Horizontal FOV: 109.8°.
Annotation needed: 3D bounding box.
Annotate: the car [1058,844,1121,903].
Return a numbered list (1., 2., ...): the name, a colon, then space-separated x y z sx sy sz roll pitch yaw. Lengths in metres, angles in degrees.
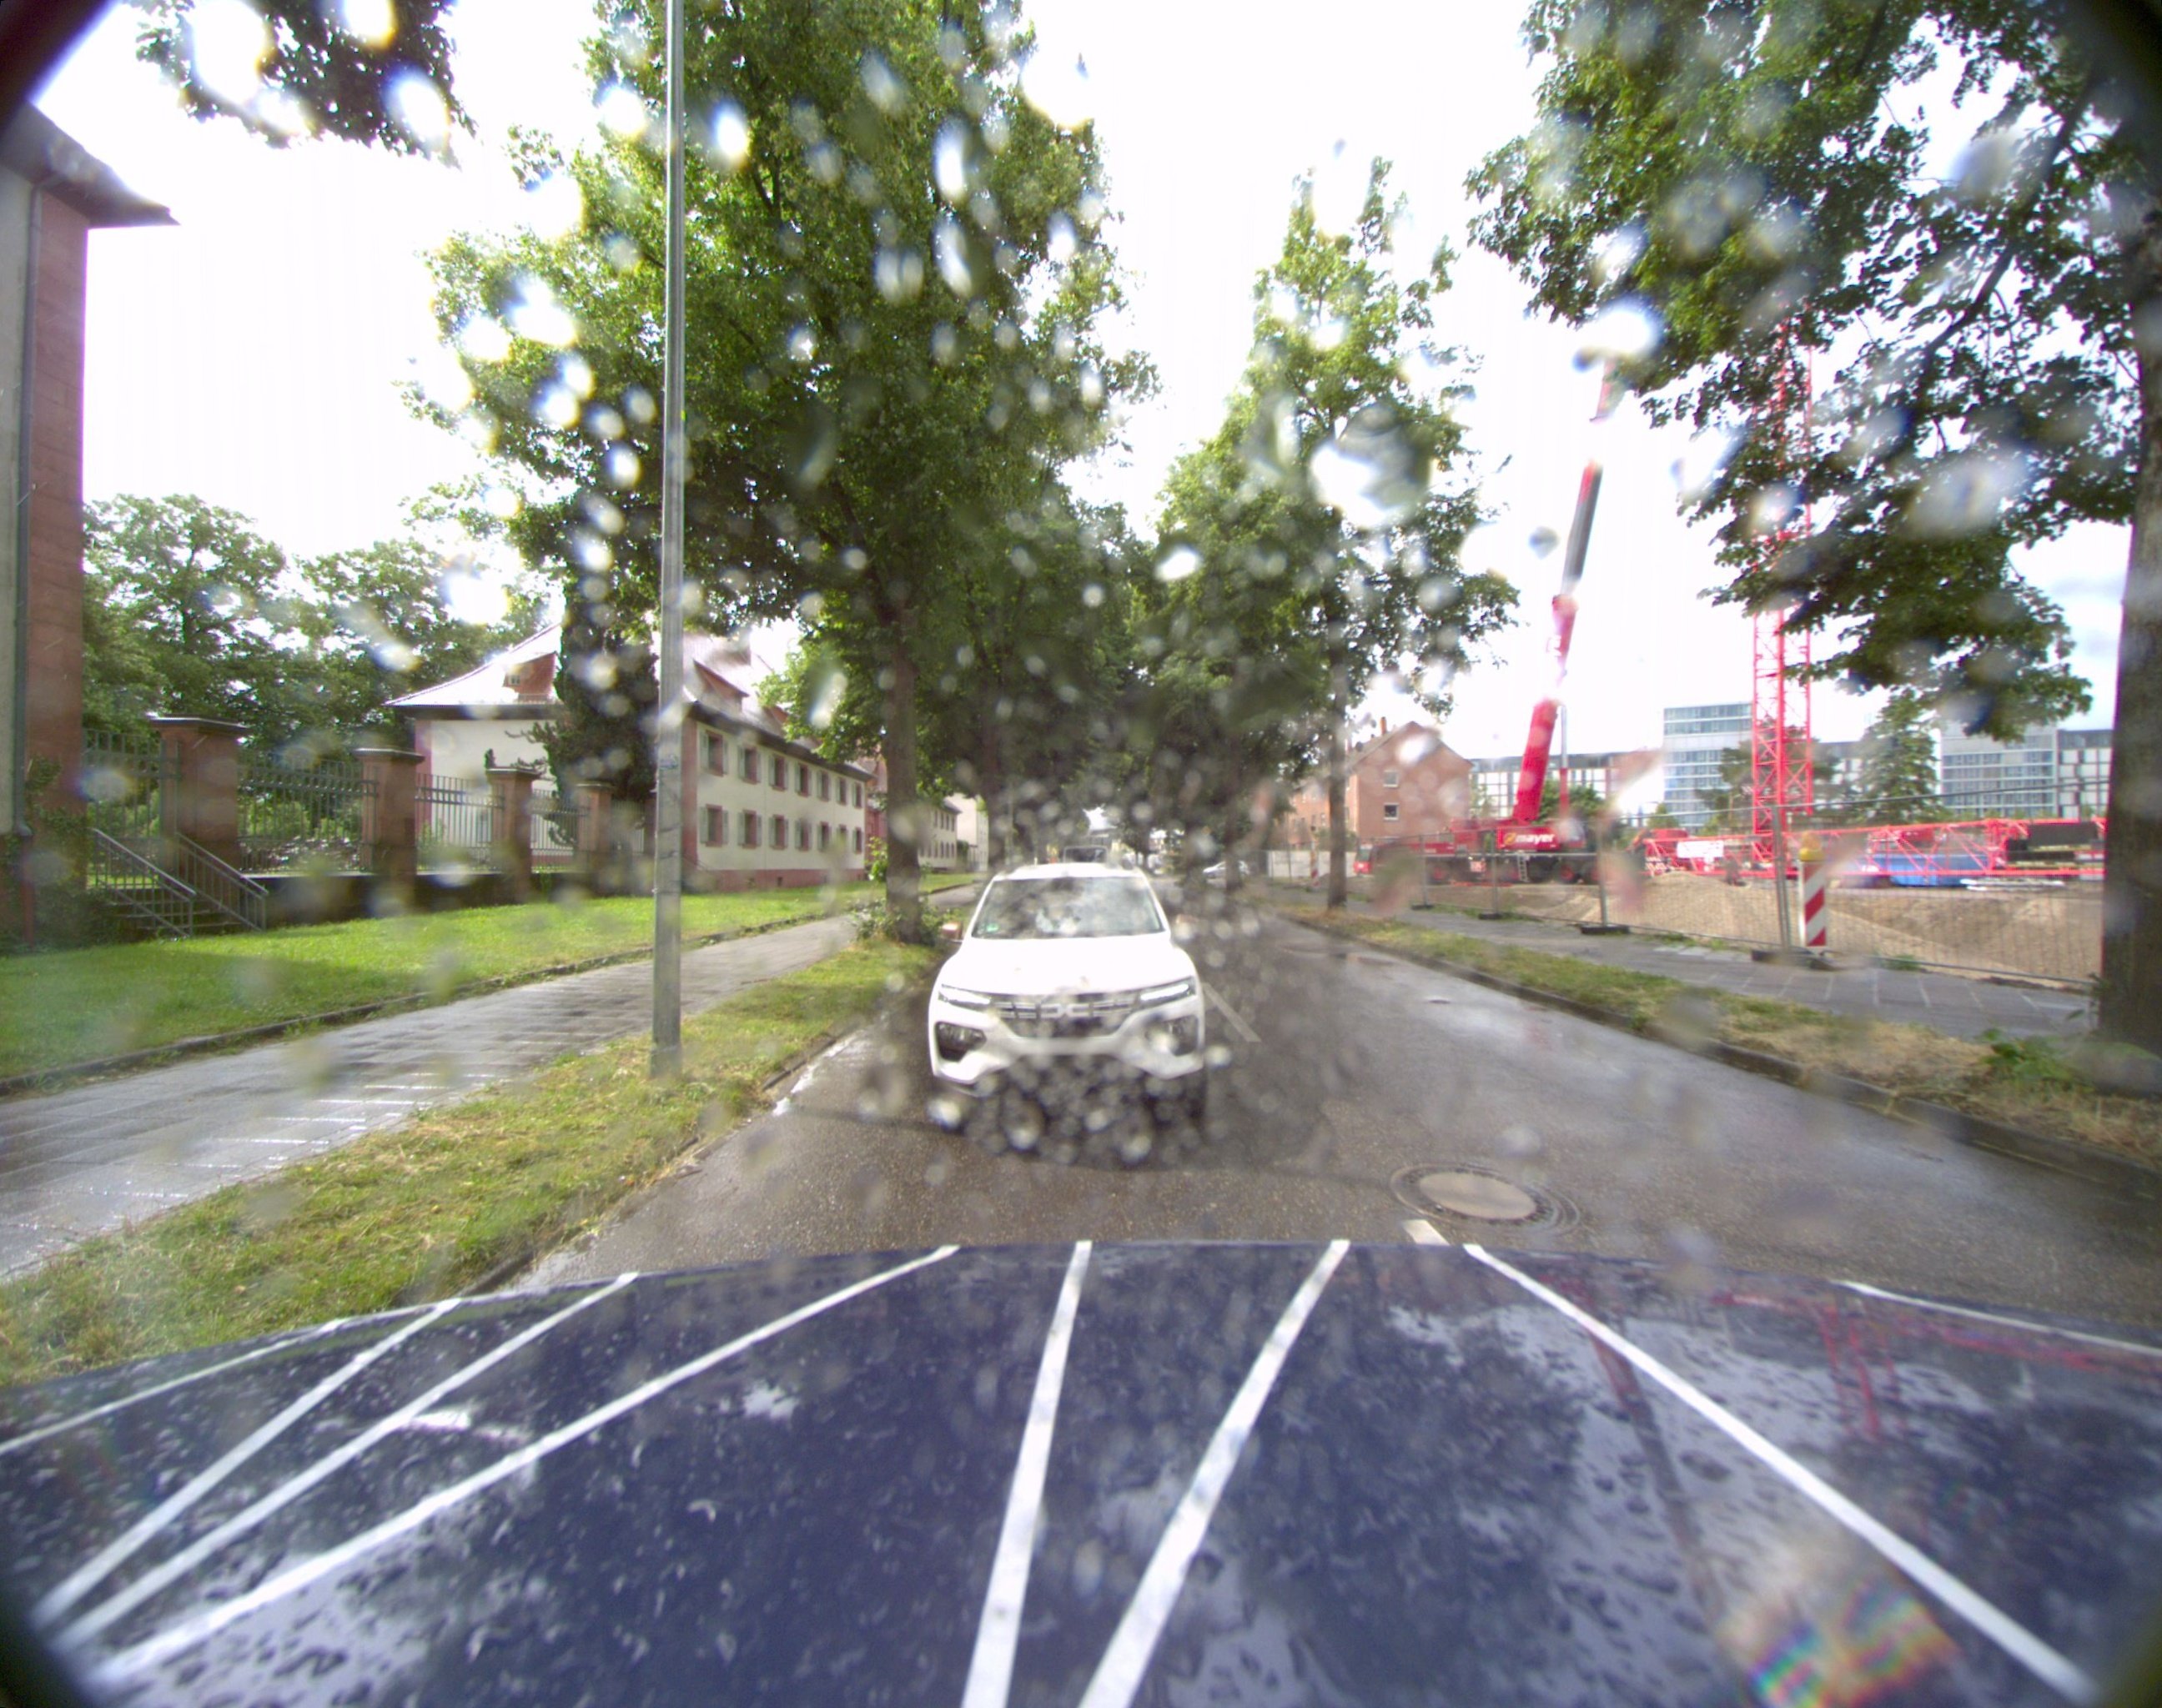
1. car: 0.246 0.659 29.050 2.107 1.990 5.433 -2 1 -1

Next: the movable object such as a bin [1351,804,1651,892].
1. movable object such as a bin: 24.877 -0.345 45.729 15.941 4.532 3.102 -2 1 4

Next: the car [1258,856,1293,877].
1. car: 16.069 1.003 62.965 1.693 1.521 3.999 -2 1 -1

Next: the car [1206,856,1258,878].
1. car: 11.943 1.040 60.010 3.865 1.543 1.699 -2 1 15

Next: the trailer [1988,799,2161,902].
1. trailer: 35.679 -0.151 21.467 2.968 3.214 14.309 -4 0 0

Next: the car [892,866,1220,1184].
1. car: -0.089 0.899 5.828 1.608 1.499 4.000 -2 0 1
